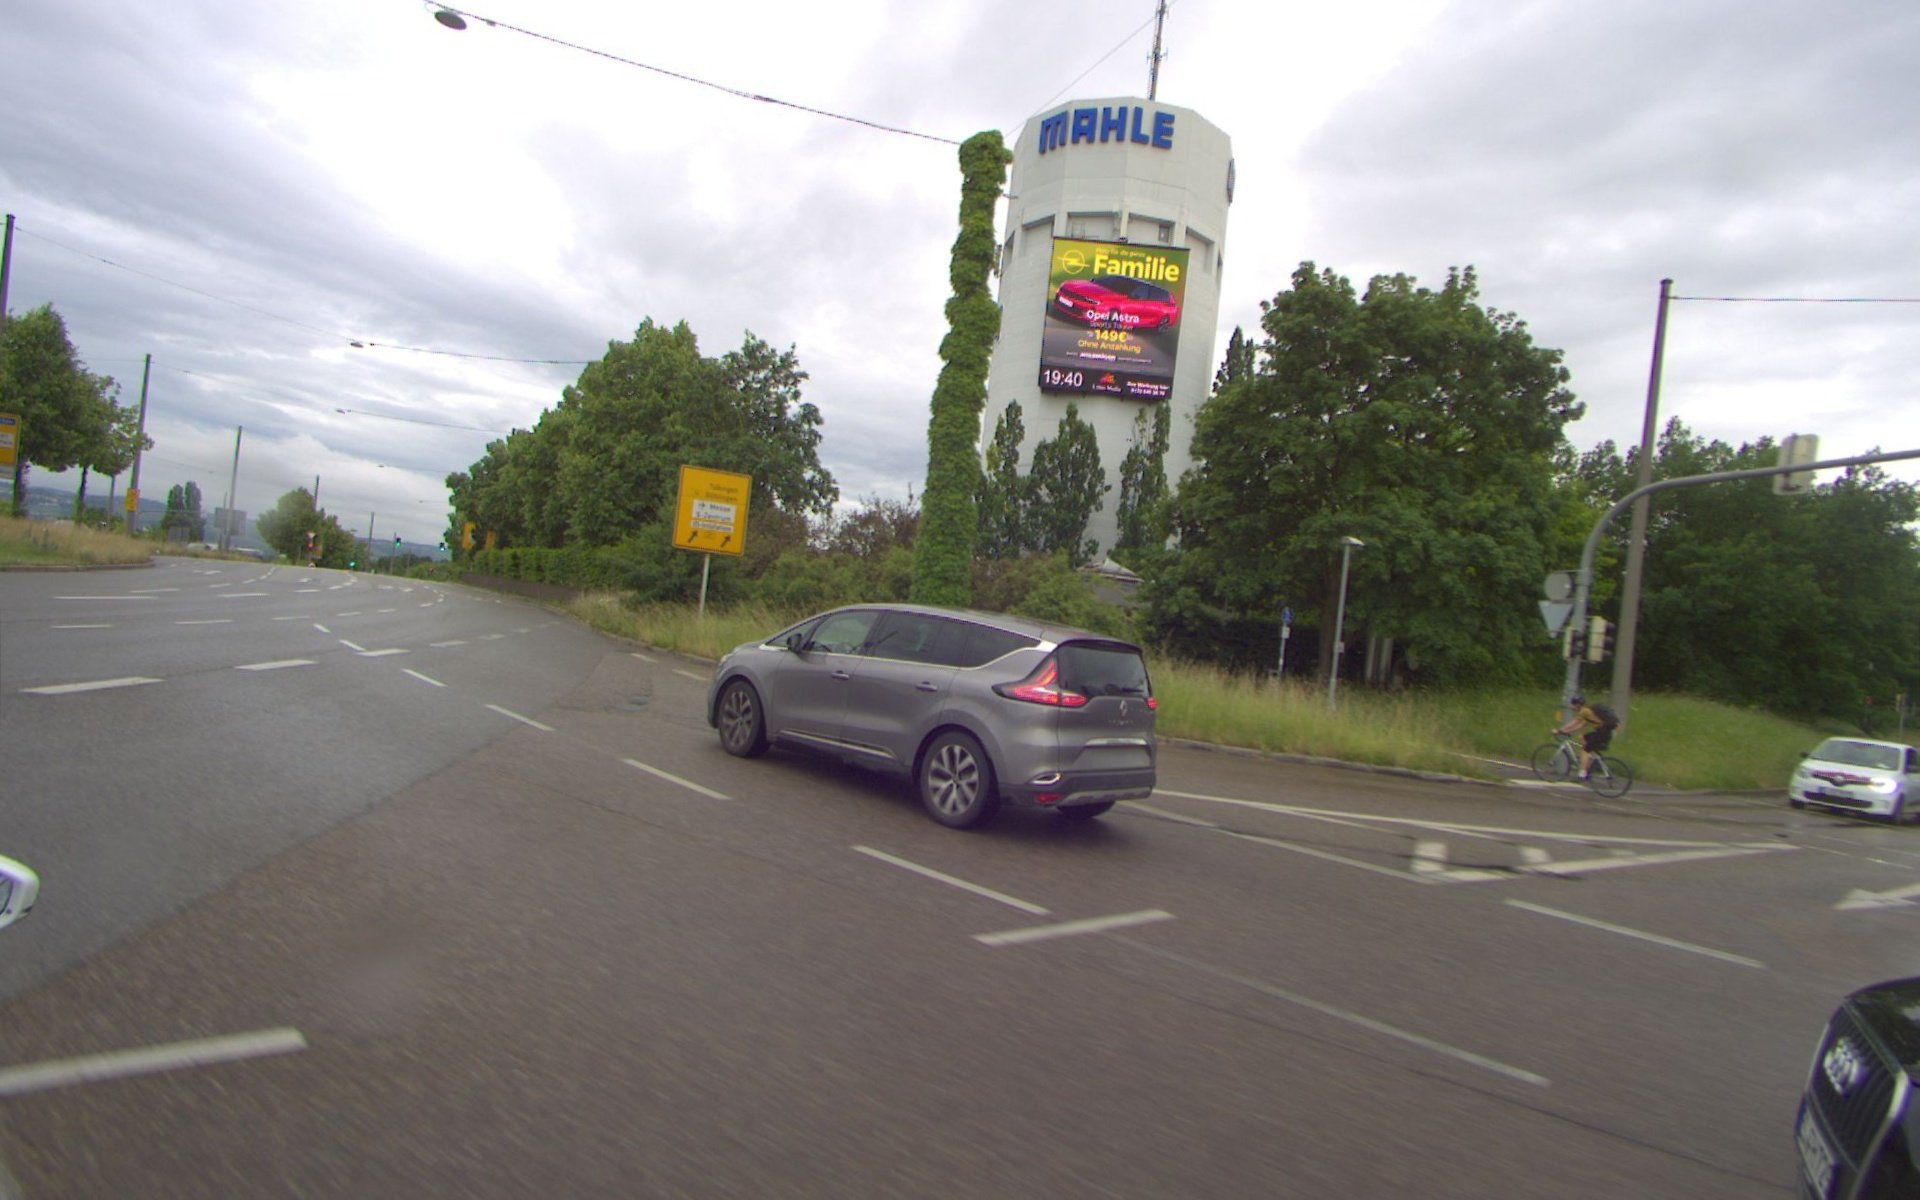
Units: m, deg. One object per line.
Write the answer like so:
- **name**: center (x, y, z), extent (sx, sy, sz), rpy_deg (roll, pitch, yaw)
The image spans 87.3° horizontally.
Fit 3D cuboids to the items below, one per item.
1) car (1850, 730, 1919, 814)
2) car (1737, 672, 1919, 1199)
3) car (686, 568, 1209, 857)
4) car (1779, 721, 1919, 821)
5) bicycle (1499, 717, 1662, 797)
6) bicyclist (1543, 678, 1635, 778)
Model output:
- **car**: center (22.946, 4.150, 23.857), extent (4.529, 1.694, 1.852), rpy_deg (9, -2, -38)
- **car**: center (3.781, 1.210, 1.384), extent (4.049, 1.614, 1.886), rpy_deg (7, -1, 36)
- **car**: center (-0.325, 0.820, 9.079), extent (4.502, 1.694, 1.863), rpy_deg (7, -1, 42)
- **car**: center (18.475, 3.477, 20.458), extent (4.111, 1.582, 1.852), rpy_deg (9, -2, -38)
- **bicycle**: center (11.104, 2.794, 18.108), extent (0.802, 1.035, 2.311), rpy_deg (6, -1, -30)
- **bicyclist**: center (11.247, 2.283, 17.999), extent (0.803, 1.602, 1.015), rpy_deg (8, -2, -31)
